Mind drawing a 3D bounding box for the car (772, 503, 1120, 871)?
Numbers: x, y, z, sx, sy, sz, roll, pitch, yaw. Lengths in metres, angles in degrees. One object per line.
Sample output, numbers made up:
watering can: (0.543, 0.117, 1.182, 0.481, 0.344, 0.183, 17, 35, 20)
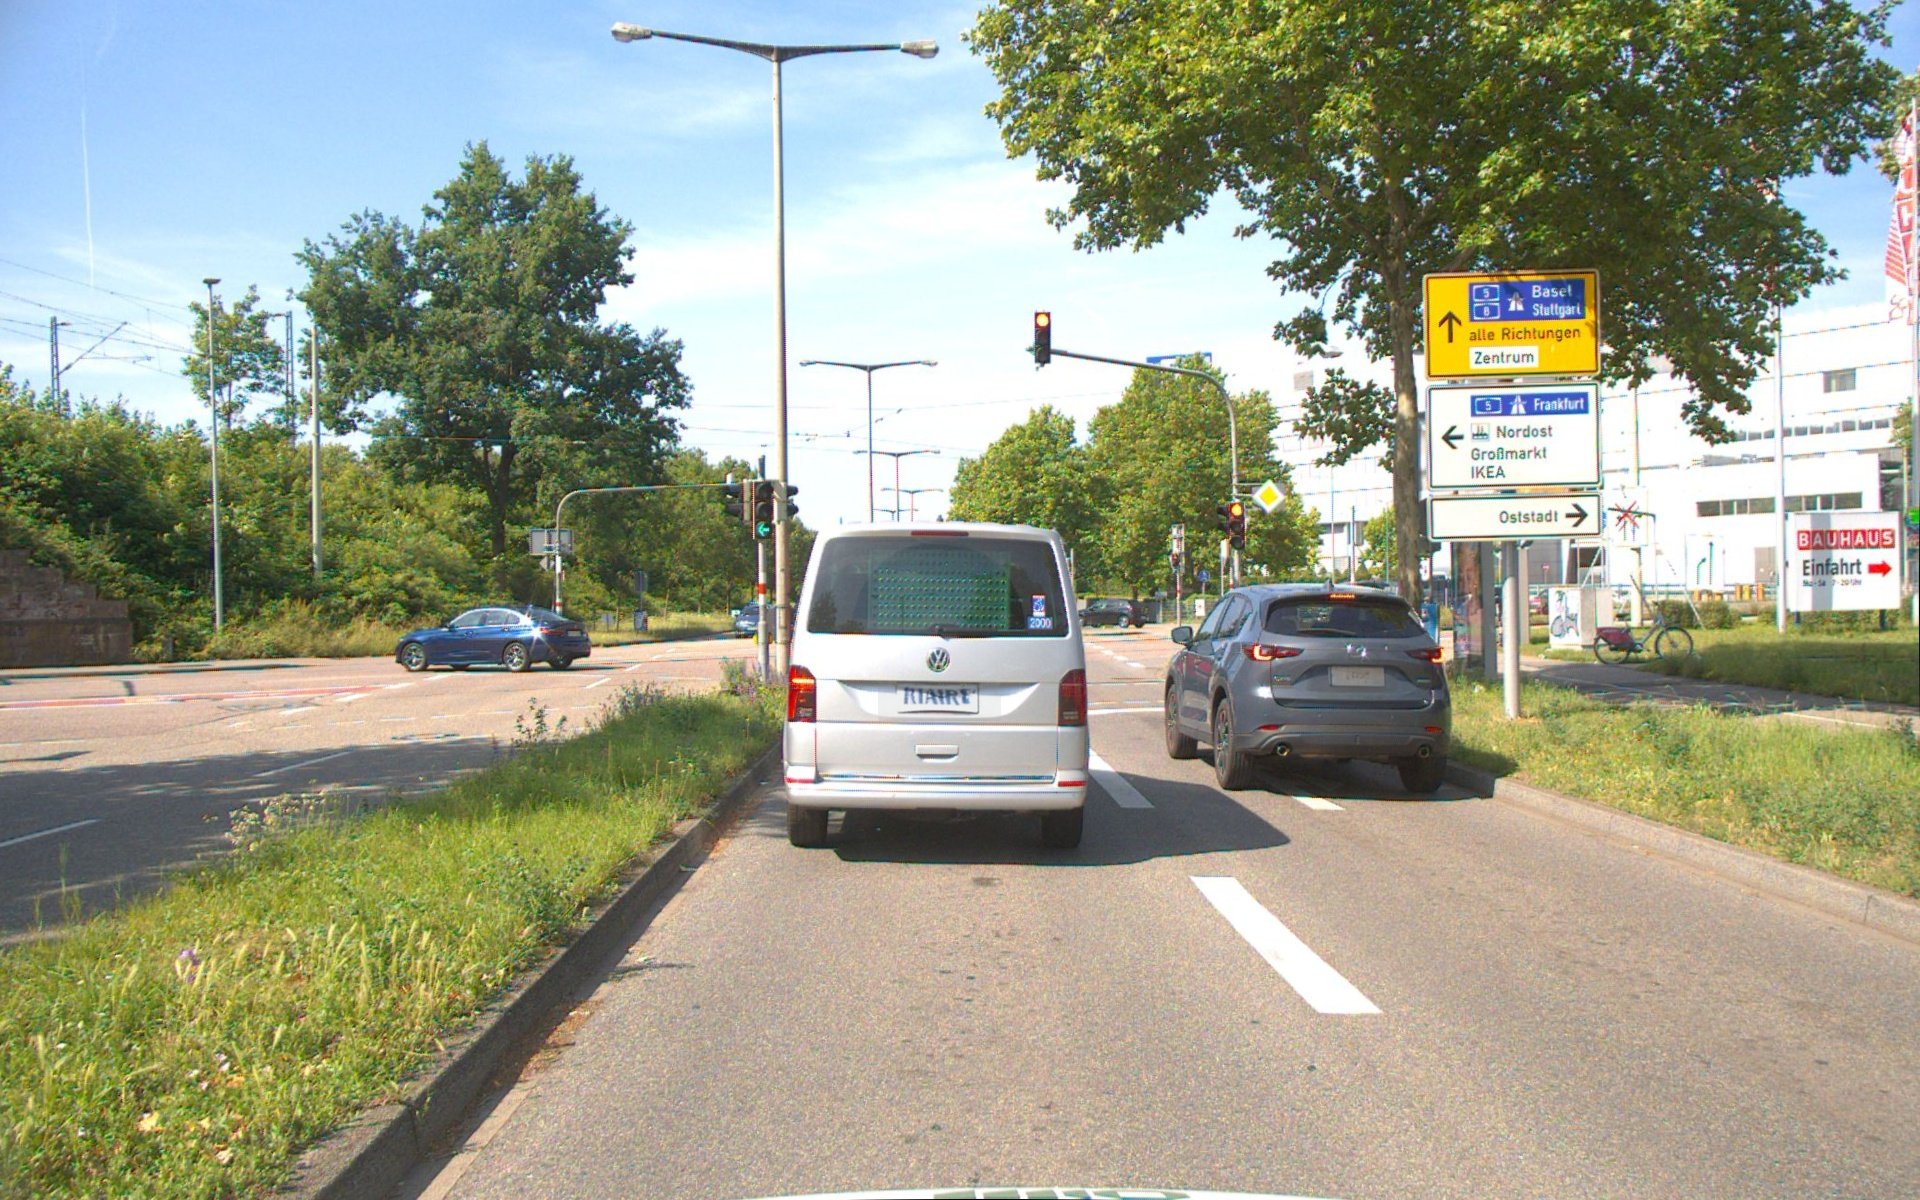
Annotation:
car: (-0.115, 0.475, 11.619, 1.902, 2.006, 5.021, 0, 0, -1)

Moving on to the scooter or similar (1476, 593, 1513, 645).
scooter or similar: (12.128, 0.426, 37.546, 0.416, 1.146, 1.123, -1, 0, -2)

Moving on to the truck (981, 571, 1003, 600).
truck: (5.107, -2.275, 262.244, 3.125, 4.431, 13.151, -1, 0, 2)

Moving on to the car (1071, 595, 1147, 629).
car: (7.402, 0.593, 82.026, 3.518, 1.593, 2.002, 1, 0, 13)

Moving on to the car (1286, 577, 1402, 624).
car: (14.881, 0.009, 64.016, 4.578, 1.718, 1.890, -1, 0, -38)

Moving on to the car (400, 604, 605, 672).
car: (-10.368, 0.860, 37.472, 4.222, 1.421, 1.793, -1, 0, 21)

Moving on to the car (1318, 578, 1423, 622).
car: (17.366, -0.008, 69.885, 4.578, 1.718, 1.890, -1, 0, -38)

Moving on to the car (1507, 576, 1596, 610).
car: (27.656, -0.330, 77.292, 4.578, 1.469, 1.758, -1, 0, -38)

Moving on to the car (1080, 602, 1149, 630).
car: (7.656, 0.791, 81.962, 3.173, 1.258, 1.650, -1, 0, 14)

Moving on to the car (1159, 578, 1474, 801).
car: (2.995, 0.685, 14.859, 1.730, 1.688, 4.494, 1, 0, -2)

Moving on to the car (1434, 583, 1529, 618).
car: (23.380, 0.011, 74.117, 4.578, 1.469, 1.758, -1, 0, -38)

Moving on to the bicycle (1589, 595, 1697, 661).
bicycle: (12.547, 0.511, 30.421, 1.748, 1.127, 0.504, -3, -1, 18)

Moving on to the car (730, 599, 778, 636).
car: (-9.204, 0.752, 74.037, 1.813, 1.589, 3.998, -1, 0, -3)
